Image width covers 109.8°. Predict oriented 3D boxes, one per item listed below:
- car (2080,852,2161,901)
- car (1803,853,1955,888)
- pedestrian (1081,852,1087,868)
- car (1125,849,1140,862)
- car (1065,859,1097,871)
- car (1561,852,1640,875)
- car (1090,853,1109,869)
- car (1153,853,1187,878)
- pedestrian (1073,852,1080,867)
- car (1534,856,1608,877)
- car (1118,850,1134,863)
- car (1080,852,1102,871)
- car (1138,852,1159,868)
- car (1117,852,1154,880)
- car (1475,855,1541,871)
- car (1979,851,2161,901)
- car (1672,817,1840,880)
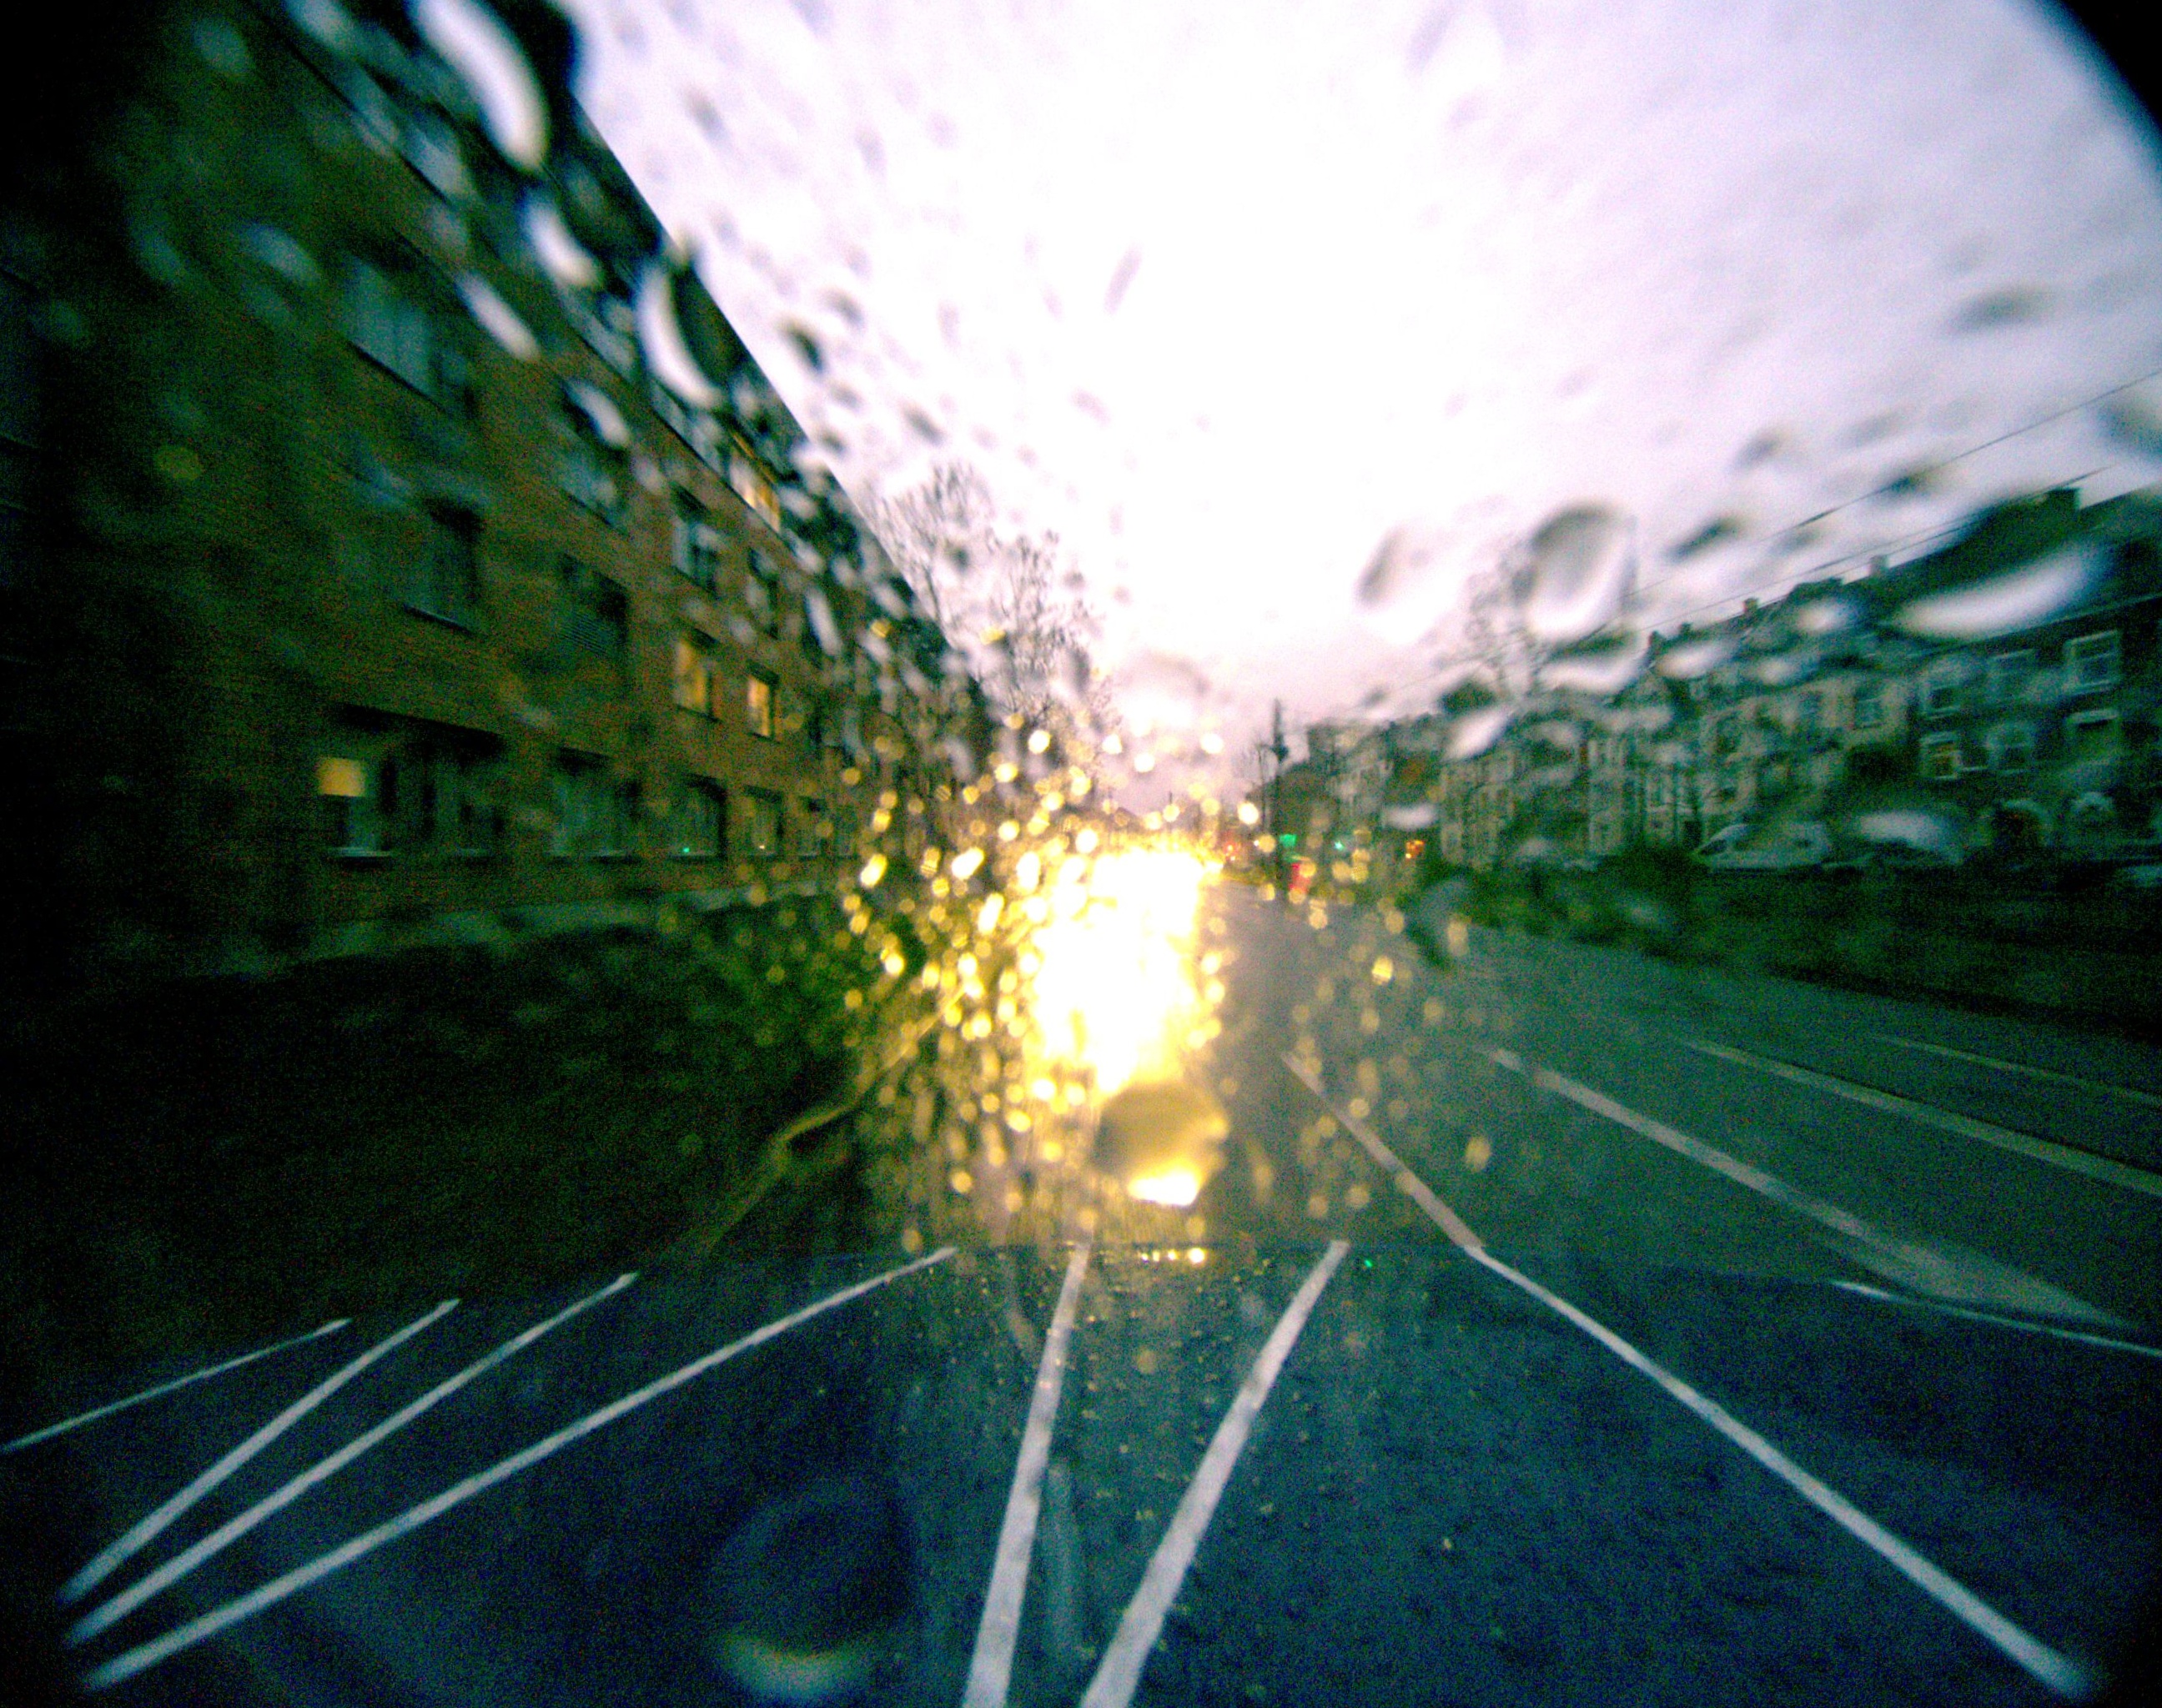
[{"bbox_3d":[31.201,0.614,20.977,3.988,1.324,2.004,0,0,39],"label":"car"},{"bbox_3d":[32.000,0.630,30.653,3.988,1.324,2.004,0,0,39],"label":"car"},{"bbox_3d":[0.388,0.685,89.717,0.506,1.814,0.656,0,1,-24],"label":"pedestrian"},{"bbox_3d":[7.332,0.226,107.998,1.998,1.745,4.000,0,0,1],"label":"car"},{"bbox_3d":[0.003,1.419,98.818,3.996,1.546,1.742,1,1,3],"label":"car"},{"bbox_3d":[32.269,0.566,47.194,3.988,1.324,2.004,0,0,36],"label":"car"},{"bbox_3d":[2.019,0.744,83.984,1.998,1.693,4.000,0,0,1],"label":"car"},{"bbox_3d":[5.753,0.743,49.604,1.813,1.487,4.053,-2,0,2],"label":"car"},{"bbox_3d":[-0.516,0.648,87.489,0.506,1.732,0.656,0,1,-31],"label":"pedestrian"},{"bbox_3d":[32.609,0.779,50.569,3.988,1.324,2.004,0,0,37],"label":"car"},{"bbox_3d":[5.985,0.318,102.054,1.998,1.745,4.000,0,0,1],"label":"car"},{"bbox_3d":[0.932,0.684,71.269,1.998,1.745,4.000,0,0,1],"label":"car"},{"bbox_3d":[7.299,0.638,82.218,1.998,1.745,4.000,0,0,1],"label":"car"},{"bbox_3d":[2.960,0.621,41.992,1.813,1.384,4.053,-2,0,2],"label":"car"},{"bbox_3d":[31.432,0.636,55.960,3.988,1.162,2.004,0,0,40],"label":"car"},{"bbox_3d":[31.832,0.660,24.061,3.988,1.477,2.004,0,0,36],"label":"car"},{"bbox_3d":[32.141,-0.252,36.393,5.850,2.781,2.004,0,1,43],"label":"car"}]
